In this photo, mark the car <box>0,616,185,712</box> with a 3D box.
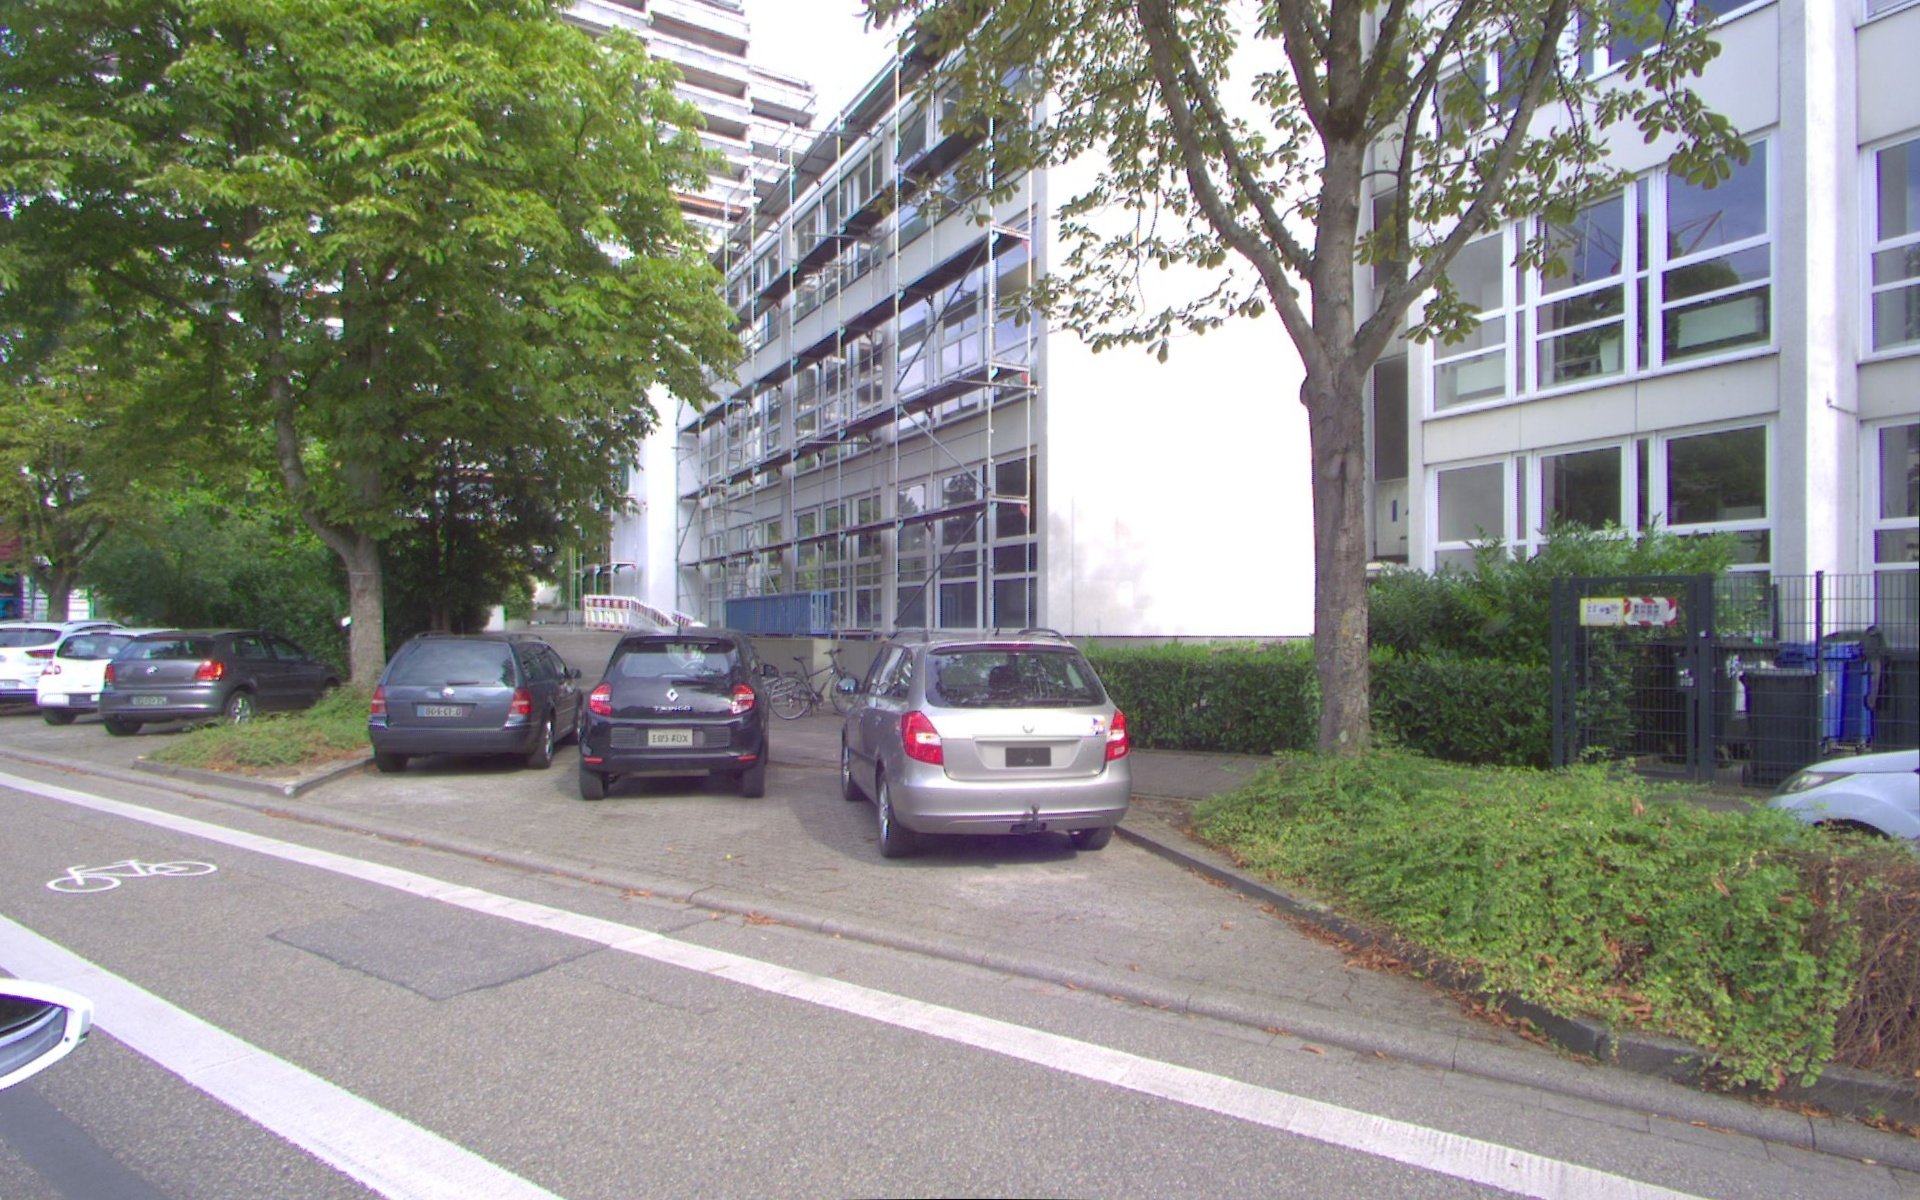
[{"bbox_3d":[-16.184,1.108,18.333,1.530,1.593,3.447,0,-1,-6],"label":"car"}]

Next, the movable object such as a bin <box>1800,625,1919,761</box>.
[{"bbox_3d":[11.268,1.110,12.408,1.021,1.582,1.072,2,-2,-33],"label":"movable object such as a bin"}]

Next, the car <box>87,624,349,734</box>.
[{"bbox_3d":[-11.005,1.104,15.179,1.593,1.461,3.536,0,-2,-6],"label":"car"}]

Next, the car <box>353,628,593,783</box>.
[{"bbox_3d":[-5.396,1.082,11.586,1.610,1.477,3.738,1,-2,-12],"label":"car"}]

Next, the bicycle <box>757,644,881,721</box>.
[{"bbox_3d":[-2.316,1.341,16.572,1.943,1.143,0.536,-1,0,-28],"label":"bicycle"}]

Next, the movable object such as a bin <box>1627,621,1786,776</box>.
[{"bbox_3d":[8.027,1.015,10.783,1.105,1.542,1.072,2,-2,-33],"label":"movable object such as a bin"}]

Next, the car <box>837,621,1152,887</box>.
[{"bbox_3d":[0.012,0.967,7.811,1.610,1.541,3.738,1,-2,-12],"label":"car"}]

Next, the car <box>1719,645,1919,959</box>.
[{"bbox_3d":[5.560,0.943,4.037,1.611,1.478,3.825,1,-2,-14],"label":"car"}]

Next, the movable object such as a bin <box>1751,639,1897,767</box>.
[{"bbox_3d":[10.112,1.165,11.736,1.021,1.385,1.072,2,-2,-33],"label":"movable object such as a bin"}]

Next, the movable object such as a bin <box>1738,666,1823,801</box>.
[{"bbox_3d":[7.323,1.164,8.939,0.566,1.117,0.647,0,-2,42],"label":"movable object such as a bin"}]

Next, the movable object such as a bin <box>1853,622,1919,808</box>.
[{"bbox_3d":[8.522,0.960,8.456,1.316,1.527,1.067,0,-2,34],"label":"movable object such as a bin"}]

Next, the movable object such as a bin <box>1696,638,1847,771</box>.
[{"bbox_3d":[9.128,1.133,11.278,1.021,1.385,1.072,2,-2,-33],"label":"movable object such as a bin"}]

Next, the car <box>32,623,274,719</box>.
[{"bbox_3d":[-13.441,1.131,16.952,1.530,1.461,3.447,0,-1,-6],"label":"car"}]

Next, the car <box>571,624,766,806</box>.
[{"bbox_3d":[-2.879,1.048,10.473,1.610,1.541,3.738,1,-2,-12],"label":"car"}]
